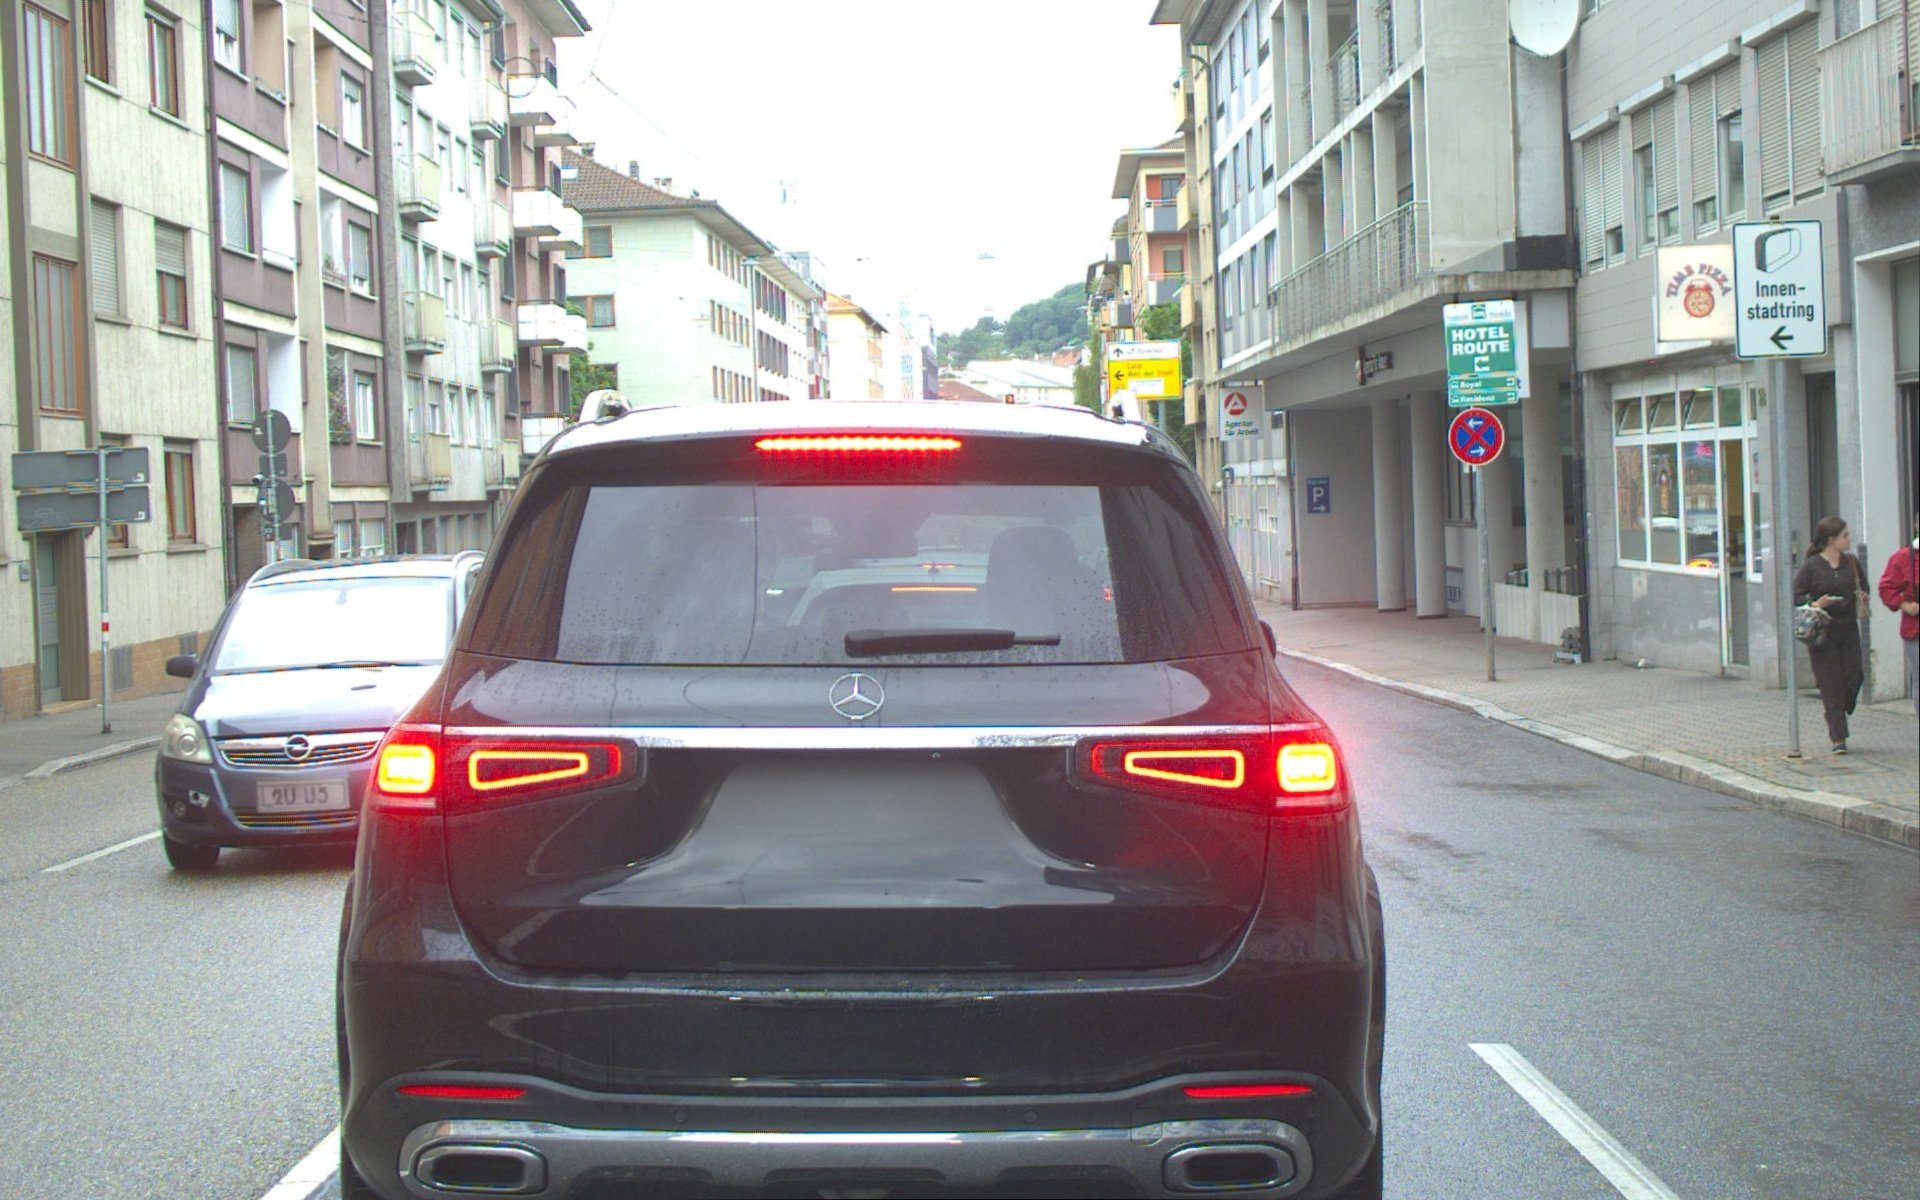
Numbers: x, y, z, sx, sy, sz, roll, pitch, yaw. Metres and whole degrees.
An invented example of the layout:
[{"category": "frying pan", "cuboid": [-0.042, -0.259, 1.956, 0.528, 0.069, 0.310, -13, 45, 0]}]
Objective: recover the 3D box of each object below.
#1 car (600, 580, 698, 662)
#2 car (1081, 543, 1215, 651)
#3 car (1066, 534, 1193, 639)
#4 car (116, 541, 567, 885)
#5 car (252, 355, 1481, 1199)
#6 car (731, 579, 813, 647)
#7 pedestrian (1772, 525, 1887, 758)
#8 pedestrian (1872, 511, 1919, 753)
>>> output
[{"category": "car", "cuboid": [-6.507, 0.417, 72.283, 1.648, 1.570, 4.125, -3, 1, -1]}, {"category": "car", "cuboid": [2.830, -0.077, 52.429, 1.767, 1.575, 4.000, -1, 1, -1]}, {"category": "car", "cuboid": [2.920, -0.266, 60.168, 1.940, 1.769, 4.746, 0, 1, -1]}, {"category": "car", "cuboid": [-3.301, 0.527, 19.099, 1.732, 1.570, 4.012, -5, 1, -1]}, {"category": "car", "cuboid": [-0.198, 0.475, 7.731, 2.025, 1.799, 4.000, 1, 1, -1]}, {"category": "car", "cuboid": [-4.352, 0.283, 79.926, 1.648, 1.434, 4.125, -3, 1, -1]}, {"category": "pedestrian", "cuboid": [5.765, 0.267, 22.810, 0.506, 1.495, 0.562, -4, 1, -1]}, {"category": "pedestrian", "cuboid": [6.443, 0.195, 22.766, 0.560, 1.573, 0.526, -4, 1, -1]}]
